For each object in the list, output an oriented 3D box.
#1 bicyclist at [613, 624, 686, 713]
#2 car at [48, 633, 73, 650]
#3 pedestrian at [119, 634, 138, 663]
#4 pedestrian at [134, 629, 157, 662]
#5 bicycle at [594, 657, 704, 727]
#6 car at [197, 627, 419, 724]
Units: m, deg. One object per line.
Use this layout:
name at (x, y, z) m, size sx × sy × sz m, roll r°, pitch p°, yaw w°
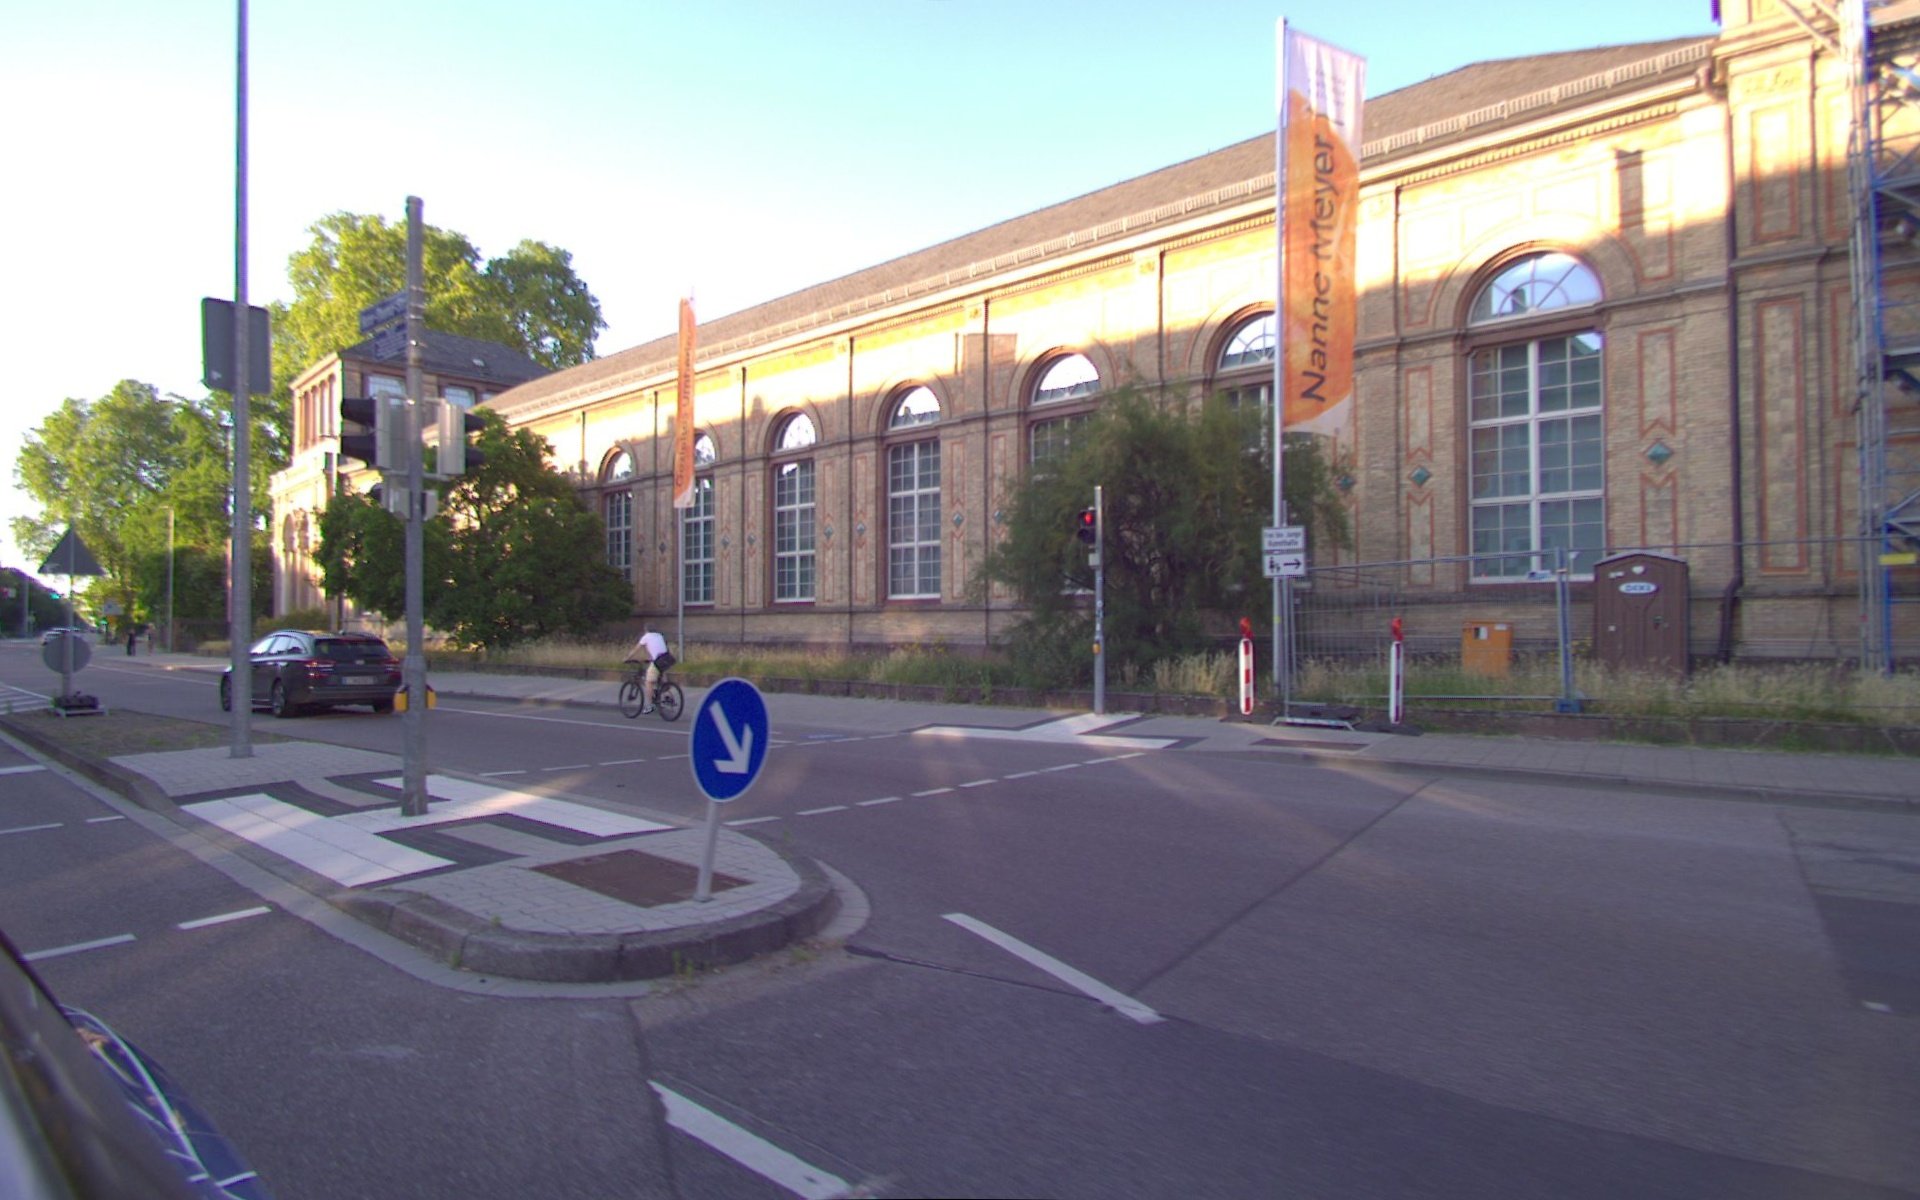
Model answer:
bicyclist at (-5.279, 1.151, 17.226) m, size 0.935 × 1.471 × 0.740 m, roll -2°, pitch -4°, yaw 35°
car at (-95.771, 4.386, 107.766) m, size 1.892 × 1.697 × 4.005 m, roll 1°, pitch -2°, yaw -41°
pedestrian at (-45.292, 2.641, 55.114) m, size 0.836 × 1.524 × 0.666 m, roll -4°, pitch -2°, yaw 43°
pedestrian at (-44.654, 2.491, 55.490) m, size 0.795 × 1.751 × 0.852 m, roll 0°, pitch -2°, yaw -24°
bicycle at (-5.312, 1.533, 17.226) m, size 1.928 × 1.099 × 0.747 m, roll -1°, pitch -4°, yaw 35°
car at (-11.651, 1.277, 17.995) m, size 4.418 × 1.519 × 1.807 m, roll -2°, pitch -4°, yaw 36°
